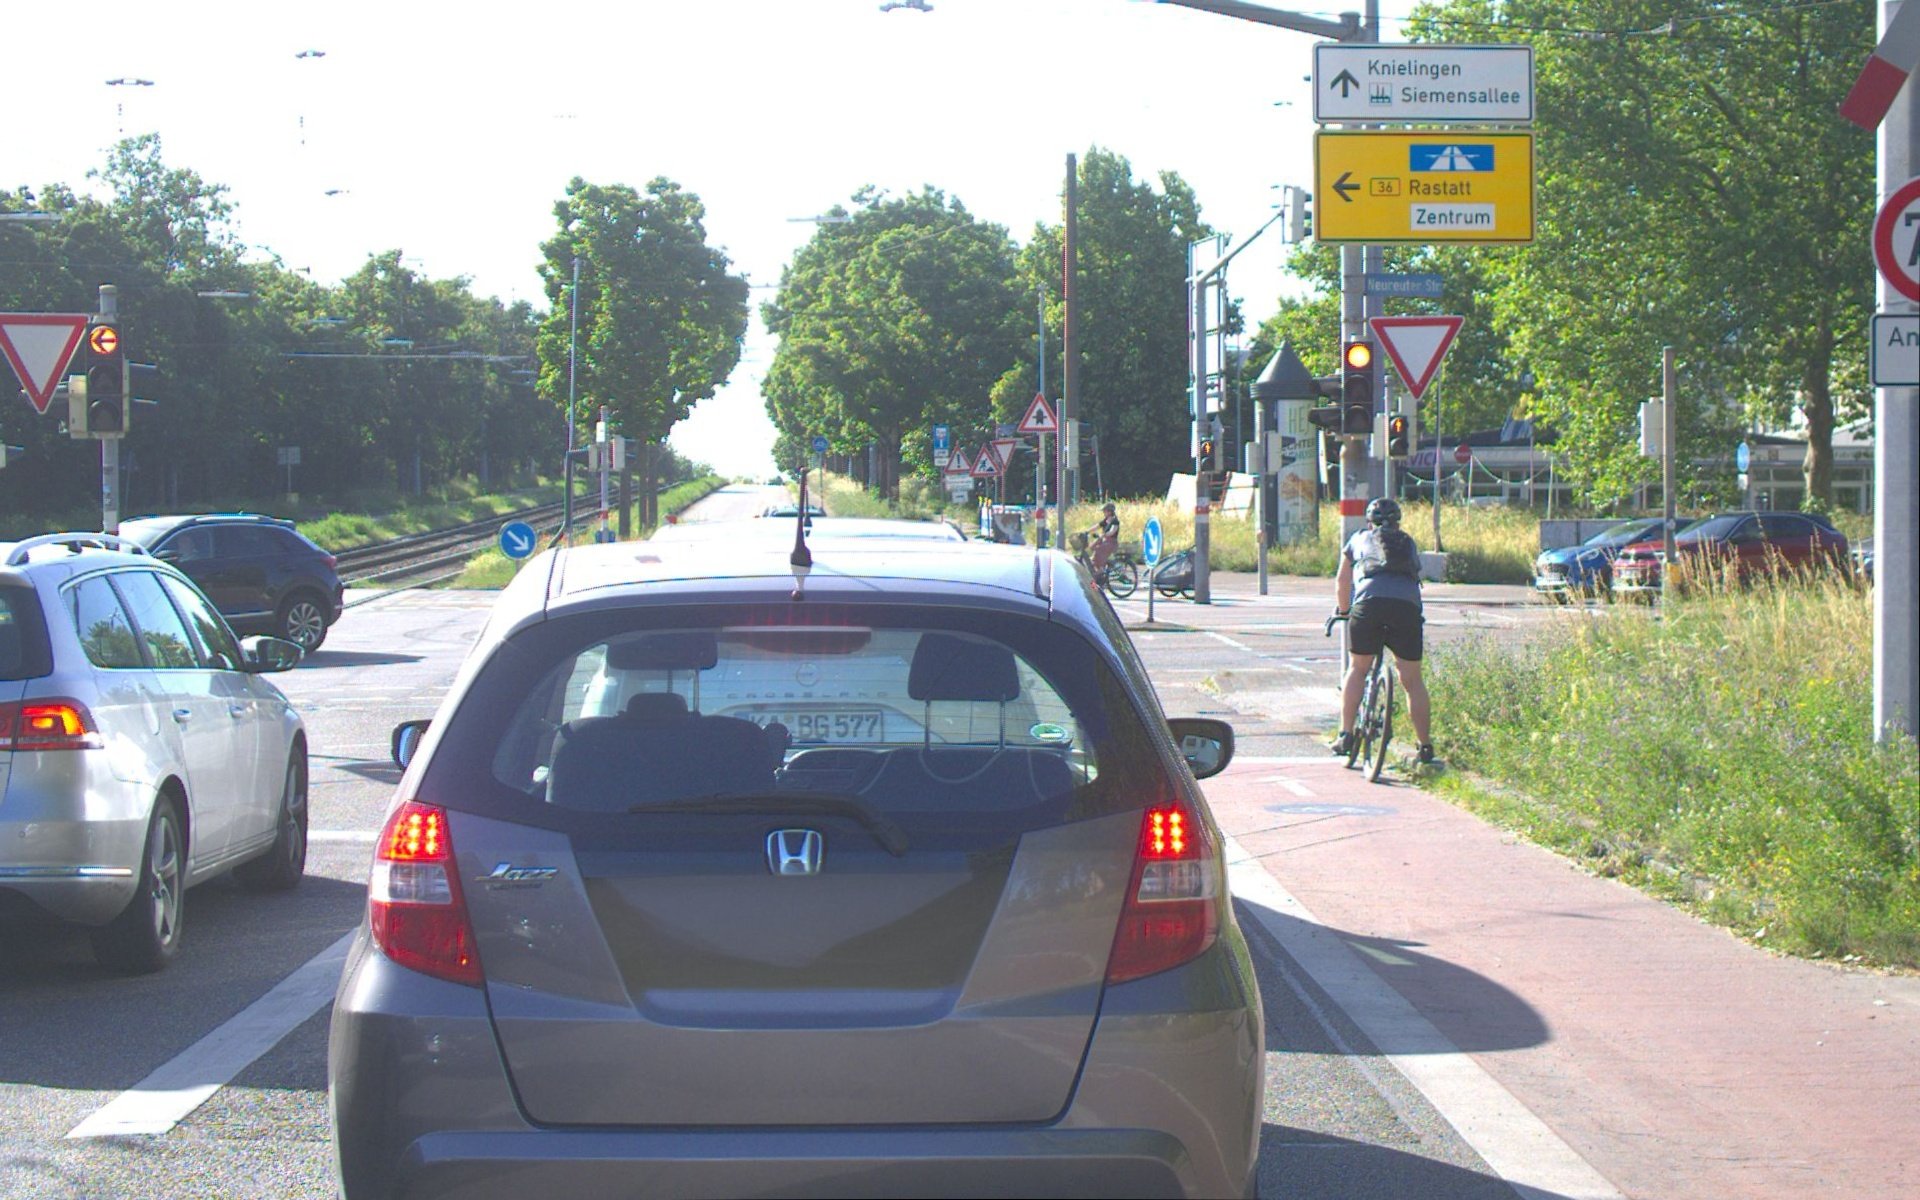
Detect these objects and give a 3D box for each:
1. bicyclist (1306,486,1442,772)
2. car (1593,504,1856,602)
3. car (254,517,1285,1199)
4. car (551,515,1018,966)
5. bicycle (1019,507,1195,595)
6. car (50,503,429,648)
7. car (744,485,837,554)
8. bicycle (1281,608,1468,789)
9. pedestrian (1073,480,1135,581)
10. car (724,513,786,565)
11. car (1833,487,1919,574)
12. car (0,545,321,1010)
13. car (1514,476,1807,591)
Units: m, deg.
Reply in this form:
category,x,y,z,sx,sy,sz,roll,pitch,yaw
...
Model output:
category,x,y,z,sx,sy,sz,roll,pitch,yaw
bicyclist,2.538,0.168,21.177,0.666,1.710,0.948,1,0,-1
car,12.446,-0.780,55.982,3.986,1.525,1.606,-1,1,-23
car,-0.395,0.560,7.374,1.668,1.457,3.587,0,1,-3
car,-0.650,0.446,14.009,1.611,1.557,4.288,0,1,-1
bicycle,2.696,-0.910,62.913,3.203,1.569,0.821,-1,1,-25
car,-8.052,-0.310,38.676,1.591,1.539,3.974,1,2,43
car,-3.790,-1.788,76.406,1.709,1.473,4.001,-1,1,-8
bicycle,2.527,0.572,21.262,0.722,0.985,2.876,1,1,-1
pedestrian,2.638,-1.276,62.894,0.852,1.830,0.791,-1,1,-26
car,-5.570,-1.657,93.228,1.522,1.374,3.677,0,1,-6
car,18.055,-1.293,63.174,3.742,1.564,1.491,-1,1,-23
car,-3.534,0.525,12.791,1.619,1.452,4.085,1,1,-1
car,12.274,-1.149,60.266,4.686,1.873,2.001,1,1,-23
